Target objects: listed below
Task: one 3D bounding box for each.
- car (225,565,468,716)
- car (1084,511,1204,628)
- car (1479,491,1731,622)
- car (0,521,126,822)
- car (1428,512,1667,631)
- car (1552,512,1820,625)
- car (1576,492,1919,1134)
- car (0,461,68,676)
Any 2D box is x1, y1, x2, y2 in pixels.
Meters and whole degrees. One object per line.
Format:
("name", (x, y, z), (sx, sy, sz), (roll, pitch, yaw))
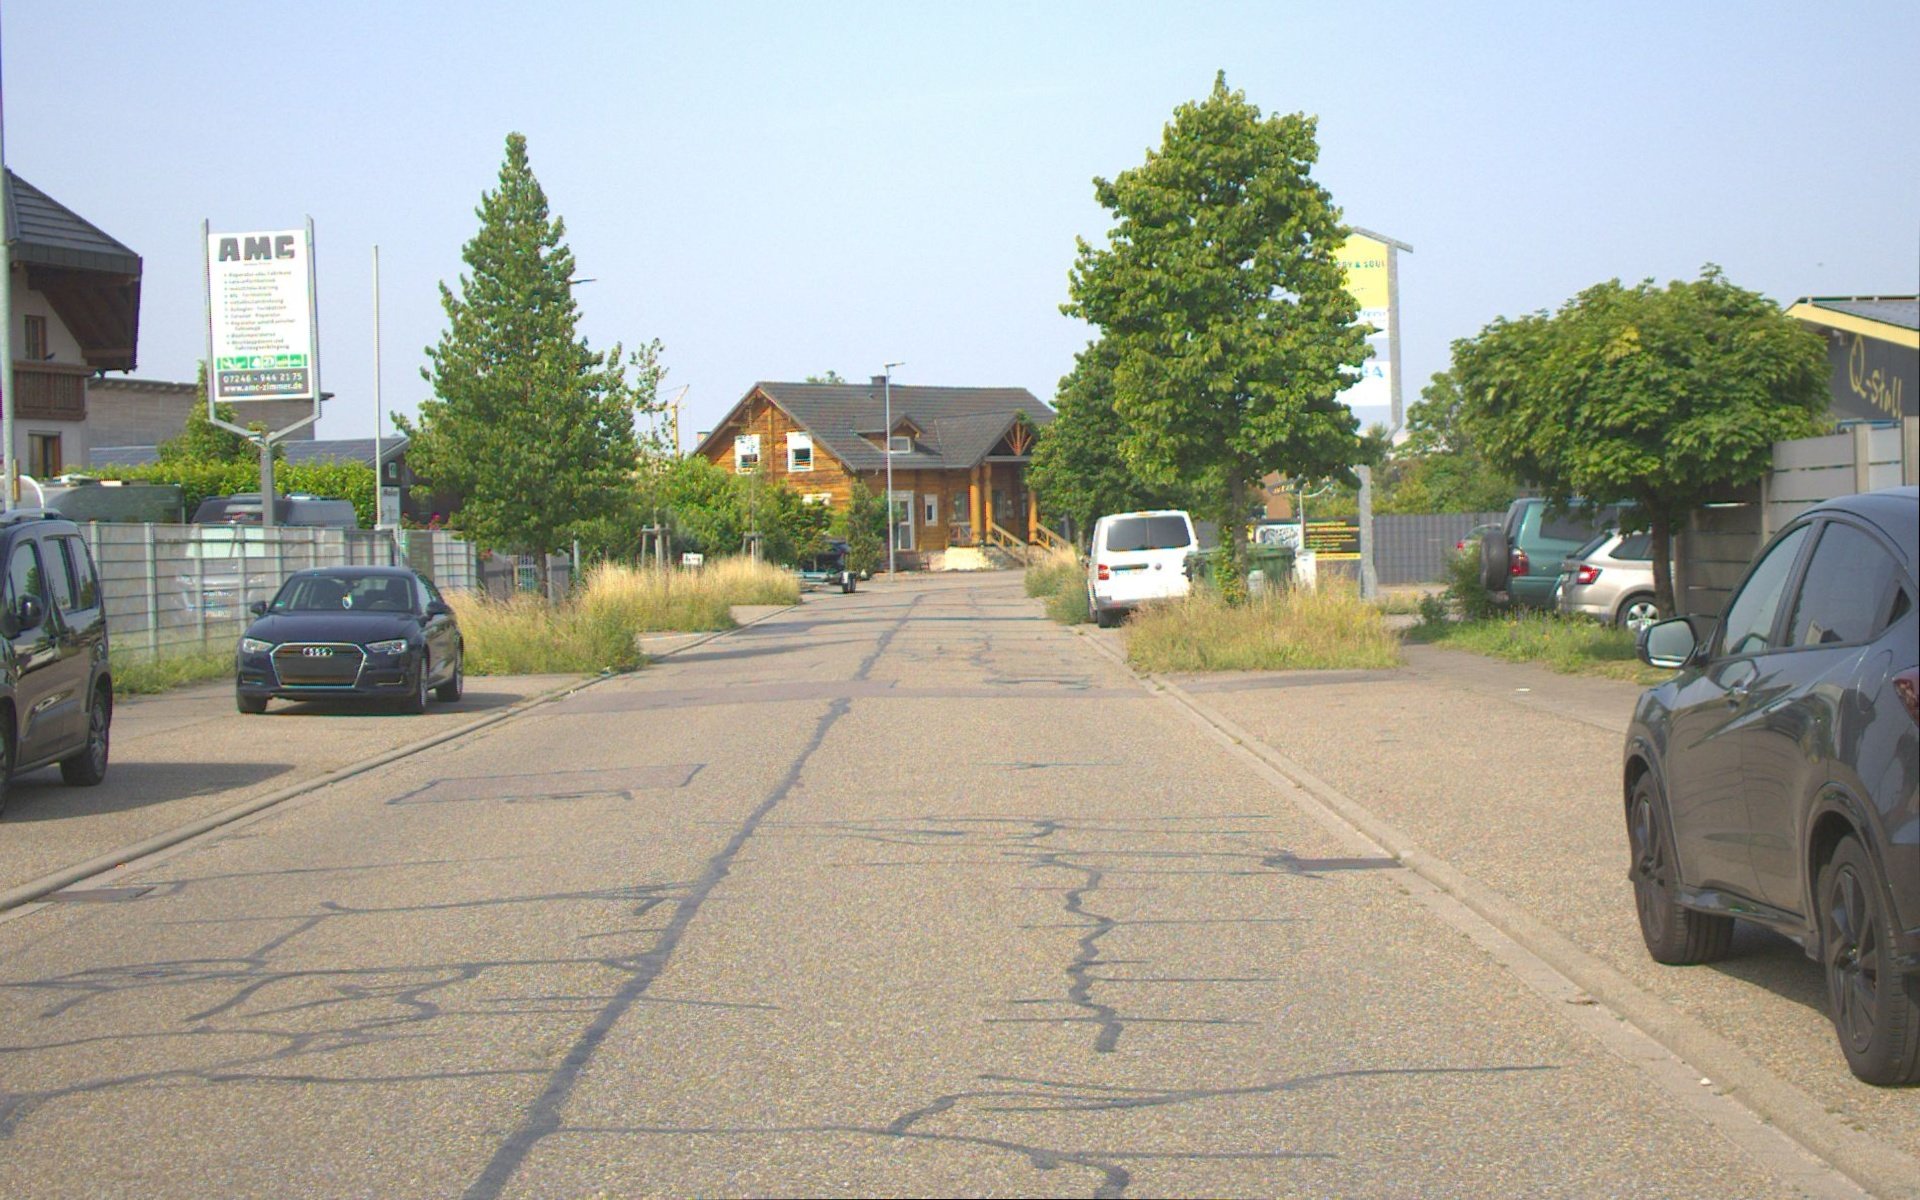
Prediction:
("car", (-6.014, 0.363, 34.075), (1.800, 1.382, 3.638), (0, 1, -1))
("car", (3.185, -0.557, 60.213), (1.837, 1.917, 3.756), (-2, 1, 0))
("car", (8.451, -0.572, 45.210), (3.144, 1.574, 1.392), (-2, 1, 9))
("car", (-6.549, 0.395, 21.283), (1.800, 1.768, 4.203), (0, 1, -1))
("car", (8.052, -0.400, 47.266), (3.144, 1.516, 1.392), (-2, 1, 9))
("car", (9.003, -0.403, 42.806), (3.144, 1.262, 1.392), (-2, 1, 9))
("car", (3.164, 0.449, 10.345), (1.794, 1.555, 4.000), (-2, 1, -1))
("car", (-13.953, -0.301, 42.239), (5.162, 2.577, 2.574), (-2, 1, 21))
